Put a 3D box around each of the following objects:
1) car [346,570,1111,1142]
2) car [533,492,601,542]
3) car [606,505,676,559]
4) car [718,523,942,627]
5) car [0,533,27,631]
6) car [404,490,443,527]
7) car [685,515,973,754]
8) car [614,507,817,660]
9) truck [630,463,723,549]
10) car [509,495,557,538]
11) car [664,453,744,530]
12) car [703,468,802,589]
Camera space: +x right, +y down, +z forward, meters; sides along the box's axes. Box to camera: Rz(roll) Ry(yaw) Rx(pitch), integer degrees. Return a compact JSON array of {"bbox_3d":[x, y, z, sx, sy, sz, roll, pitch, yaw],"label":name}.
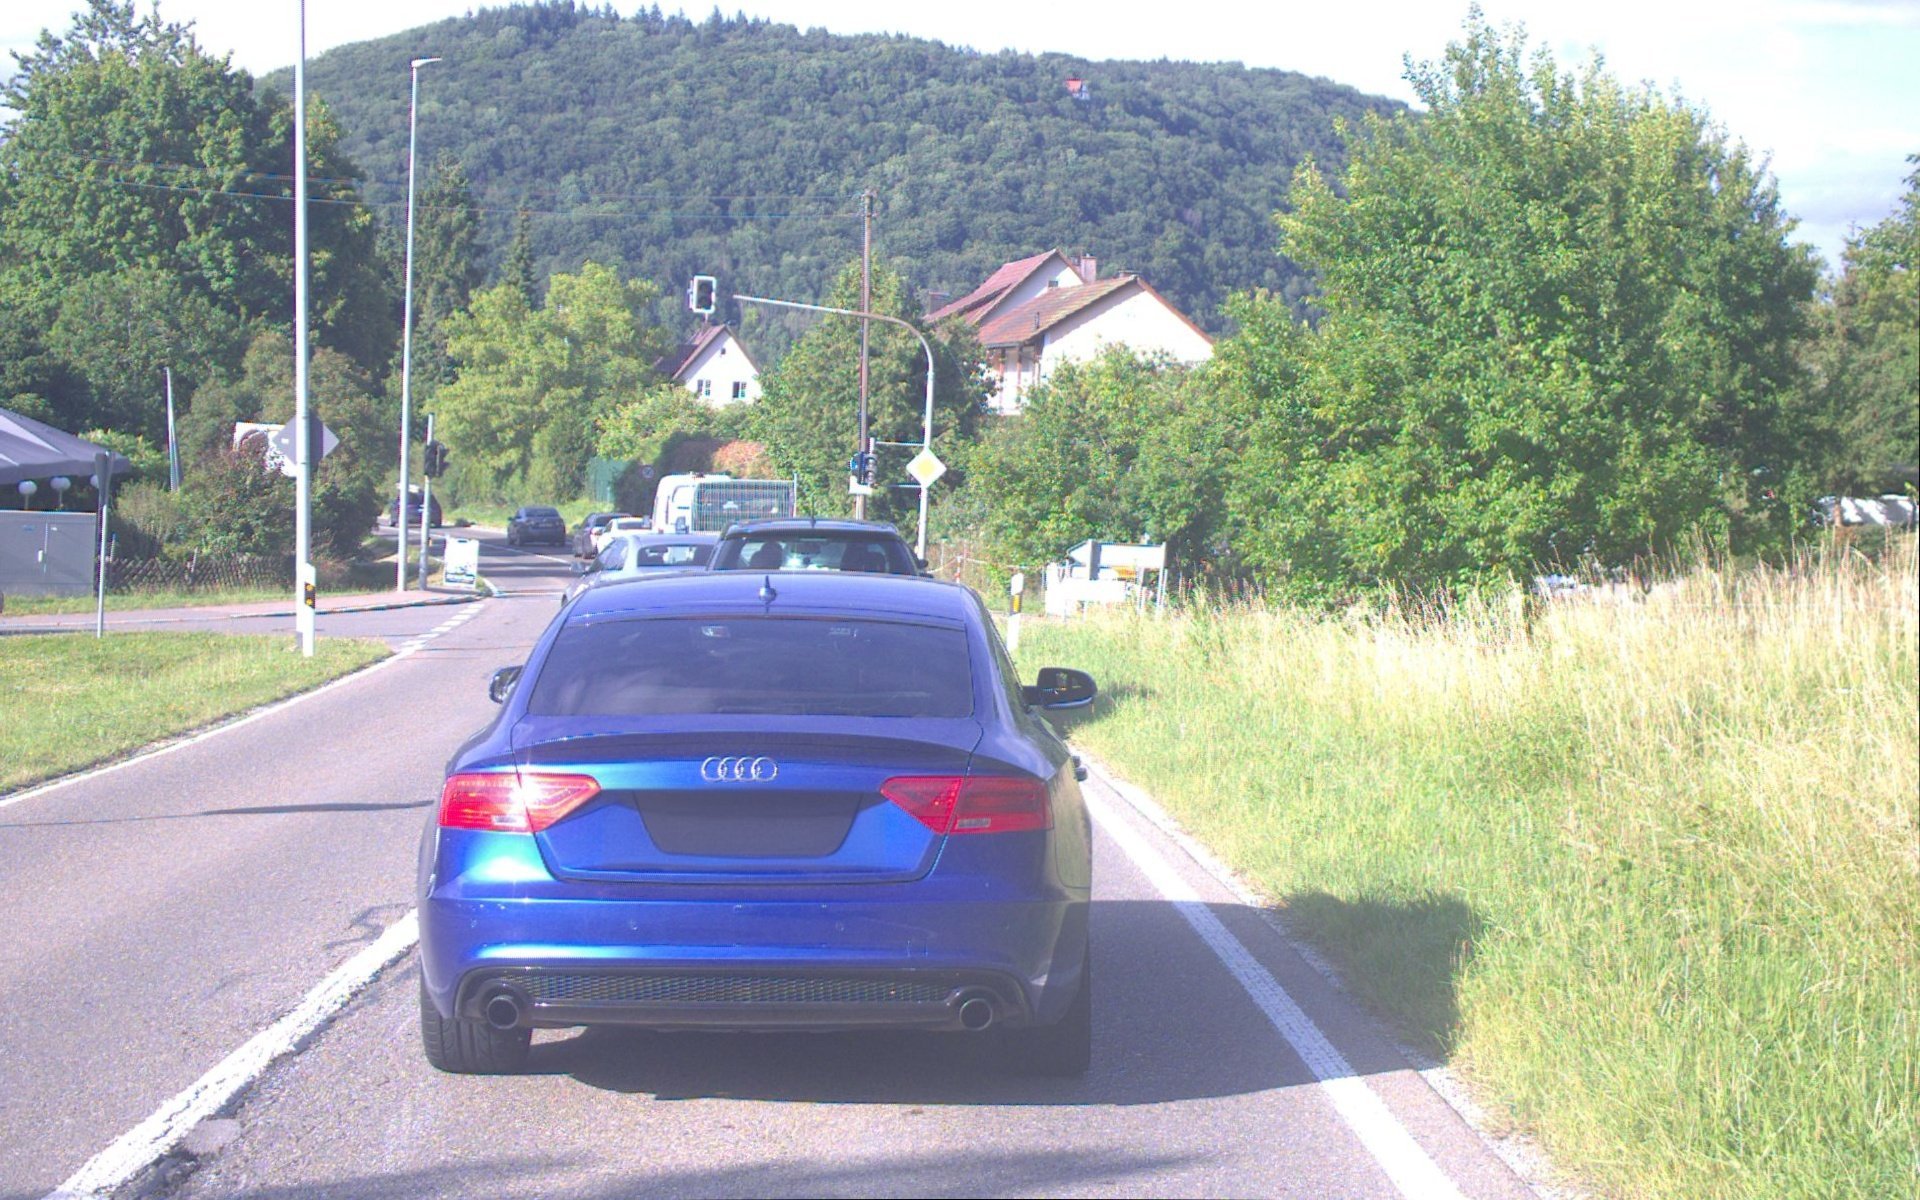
[{"bbox_3d":[-0.485,0.605,10.394,1.795,1.383,4.000,0,0,4],"label":"car"},{"bbox_3d":[-12.383,-2.604,108.162,1.697,1.485,3.528,1,1,-13],"label":"car"},{"bbox_3d":[-9.237,-1.955,99.326,1.697,1.485,3.528,1,1,-10],"label":"car"},{"bbox_3d":[-1.901,-0.368,51.338,1.627,1.472,3.725,1,1,29],"label":"car"},{"bbox_3d":[-15.998,-0.300,50.584,3.991,1.437,1.918,1,0,20],"label":"car"},{"bbox_3d":[-24.253,-4.116,155.284,1.625,1.571,3.680,1,0,-10],"label":"car"},{"bbox_3d":[-0.909,0.223,25.986,1.746,1.634,4.000,1,0,4],"label":"car"},{"bbox_3d":[-2.756,-0.201,39.632,1.805,1.634,4.463,1,1,3],"label":"car"},{"bbox_3d":[-6.913,-2.246,83.409,1.697,1.947,5.924,1,1,-10],"label":"truck"},{"bbox_3d":[-15.655,-3.047,126.048,1.697,1.485,3.528,1,0,-8],"label":"car"},{"bbox_3d":[-5.837,-2.455,78.182,1.746,1.634,4.001,1,0,-5],"label":"car"},{"bbox_3d":[-3.958,-1.337,65.037,1.746,2.188,4.001,1,0,-5],"label":"car"}]
